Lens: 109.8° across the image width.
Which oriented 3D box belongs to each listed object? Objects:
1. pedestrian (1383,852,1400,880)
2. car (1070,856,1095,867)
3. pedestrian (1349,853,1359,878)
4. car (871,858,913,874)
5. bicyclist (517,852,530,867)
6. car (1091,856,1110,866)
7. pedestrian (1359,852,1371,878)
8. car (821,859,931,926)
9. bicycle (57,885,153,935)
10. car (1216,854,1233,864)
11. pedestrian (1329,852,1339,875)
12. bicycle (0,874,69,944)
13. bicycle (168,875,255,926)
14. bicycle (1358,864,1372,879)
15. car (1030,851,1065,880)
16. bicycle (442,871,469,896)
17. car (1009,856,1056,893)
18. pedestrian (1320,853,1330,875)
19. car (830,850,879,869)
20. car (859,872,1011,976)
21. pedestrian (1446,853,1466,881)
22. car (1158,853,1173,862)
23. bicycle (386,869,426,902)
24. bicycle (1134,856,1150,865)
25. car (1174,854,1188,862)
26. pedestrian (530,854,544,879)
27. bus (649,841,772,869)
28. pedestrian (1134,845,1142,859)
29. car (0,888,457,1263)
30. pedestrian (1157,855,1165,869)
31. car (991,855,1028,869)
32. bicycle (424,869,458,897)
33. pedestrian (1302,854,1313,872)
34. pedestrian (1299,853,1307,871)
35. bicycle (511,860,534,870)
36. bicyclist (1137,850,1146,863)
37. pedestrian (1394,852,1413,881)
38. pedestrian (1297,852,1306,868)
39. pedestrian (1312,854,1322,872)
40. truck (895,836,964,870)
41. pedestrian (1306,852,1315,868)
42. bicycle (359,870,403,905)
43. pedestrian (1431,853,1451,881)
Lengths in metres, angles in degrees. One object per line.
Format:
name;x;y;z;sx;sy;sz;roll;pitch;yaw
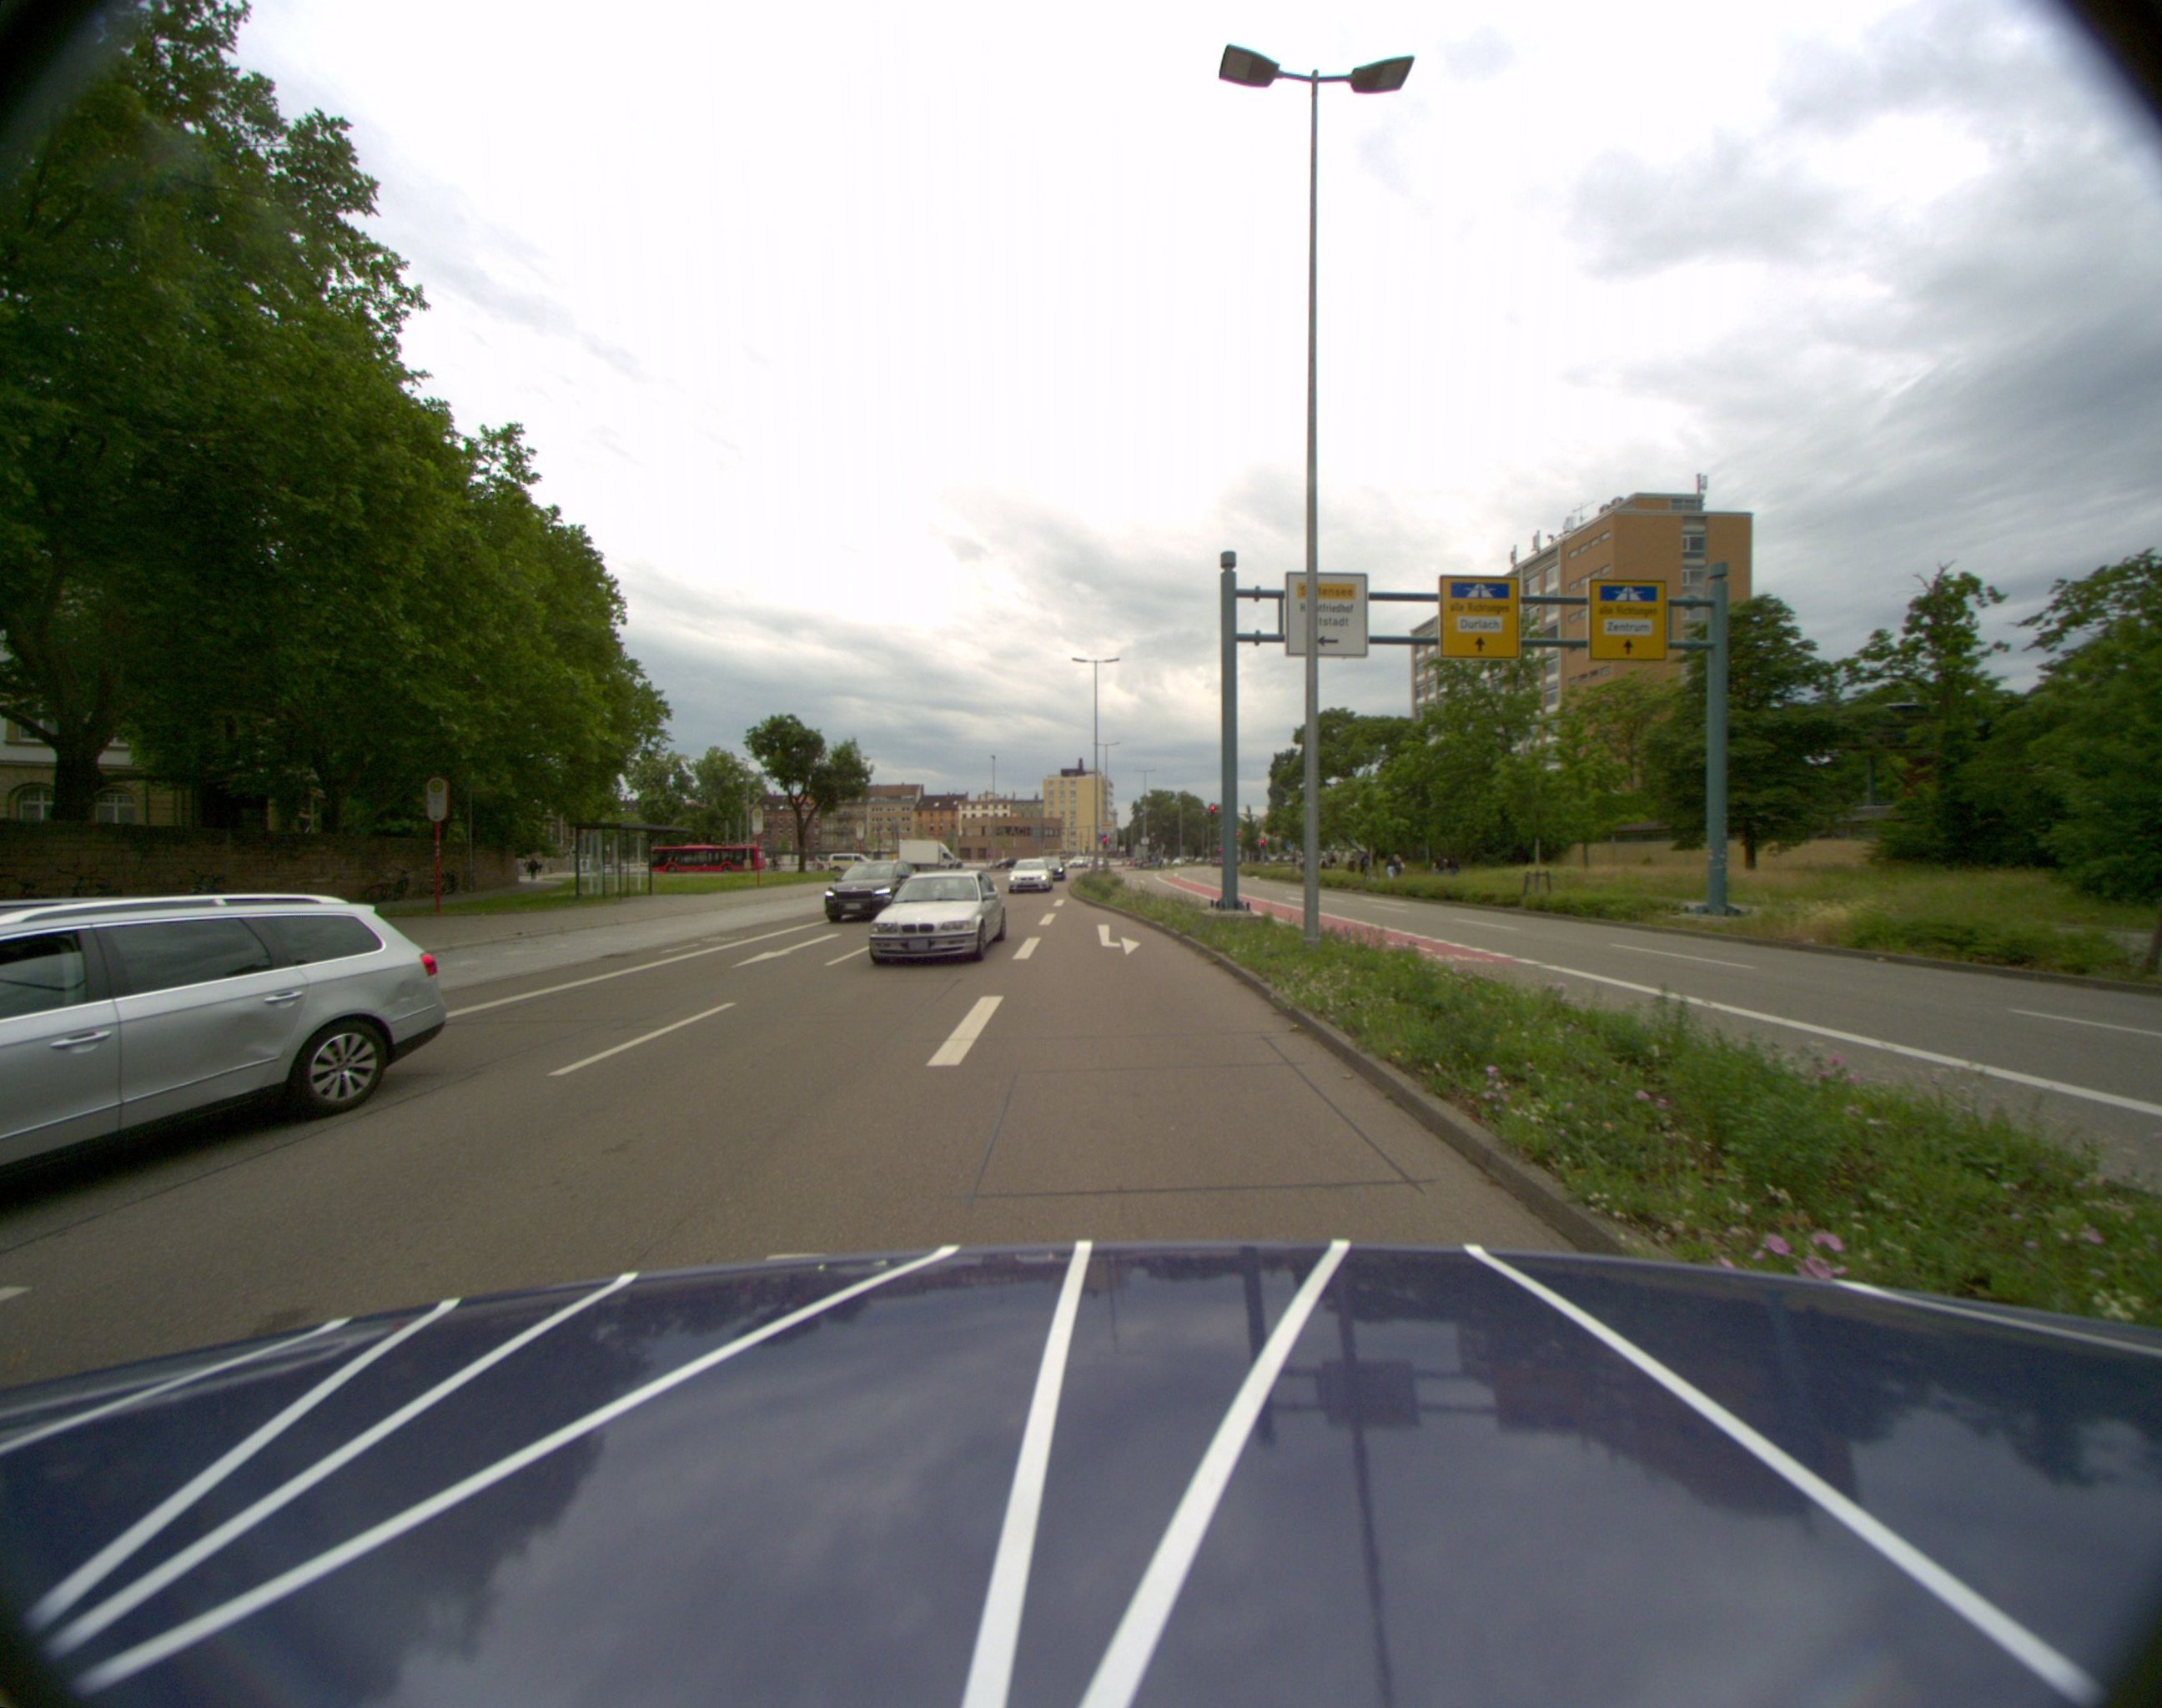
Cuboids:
pedestrian;18.236;0.694;44.623;0.587;1.650;0.720;1;0;-5
car;0.198;1.027;107.041;1.816;1.466;4.040;1;0;28
pedestrian;17.669;0.763;49.216;0.575;1.599;0.617;1;0;17
car;-21.296;1.376;85.908;4.432;1.735;1.763;1;0;-10
bicyclist;-56.094;0.513;76.413;0.740;1.499;0.767;1;0;-10
car;3.023;1.106;118.589;1.515;1.382;3.438;1;0;28
pedestrian;18.326;0.711;49.044;0.661;1.622;0.764;1;0;16
car;-5.761;1.020;21.941;1.912;1.615;4.490;-2;0;0
bicycle;-20.175;1.137;15.747;0.417;0.937;1.523;1;0;-17
car;23.814;0.809;125.959;1.812;1.657;3.955;1;1;23
pedestrian;19.529;0.743;58.628;0.579;1.702;0.762;1;0;11
bicycle;-19.612;0.998;13.872;0.501;1.214;1.624;1;0;-17
bicycle;-20.587;1.072;18.036;0.599;1.098;1.652;1;0;-19
bicycle;18.326;1.127;49.072;0.661;0.882;1.717;1;0;16
car;-2.044;0.658;47.296;1.888;1.591;4.446;-3;0;-1
bicycle;-26.354;1.213;32.037;0.552;0.986;1.633;1;0;-28
car;-2.115;0.868;33.964;1.786;1.454;3.870;-1;0;0
pedestrian;18.775;0.753;58.443;0.622;1.685;0.747;1;0;14
car;-24.095;0.595;80.965;4.712;1.909;1.919;-1;3;-3
car;-2.344;1.076;13.294;1.726;1.406;4.246;-2;0;1
pedestrian;18.535;0.631;37.555;0.646;1.354;0.680;1;0;-1
car;15.985;0.673;143.463;1.606;1.586;3.766;1;0;25
bicycle;-24.258;1.111;27.339;0.596;1.123;1.709;1;0;-25
bicycle;7.899;0.860;98.569;2.005;1.136;0.807;1;0;2
car;20.228;0.823;153.626;1.801;1.586;3.766;1;0;25
pedestrian;-38.771;0.891;54.158;0.759;1.725;0.820;1;0;-39
bus;-41.441;0.152;85.294;12.091;2.891;2.937;-1;0;-3
pedestrian;7.148;-0.262;95.377;0.917;1.794;0.541;1;0;17
car;-5.846;1.118;3.579;1.829;1.542;4.527;-2;1;3
pedestrian;10.131;1.009;95.903;0.777;1.657;0.706;1;0;-7
car;-8.508;0.988;90.558;4.295;1.628;1.685;1;0;-42
bicycle;-25.646;1.158;30.465;0.596;1.053;1.709;1;0;-25
pedestrian;19.223;0.756;64.422;0.730;1.471;0.813;1;0;4
pedestrian;21.941;0.791;75.093;0.638;1.790;0.762;-1;0;4
bicycle;-56.159;1.087;76.408;1.695;0.910;0.767;1;0;-10
bicyclist;7.842;0.343;98.569;1.191;1.725;0.807;1;0;3
pedestrian;18.918;0.718;44.626;0.709;1.663;0.767;1;0;-5
pedestrian;22.917;0.647;79.117;0.708;1.661;0.943;-1;0;4
pedestrian;20.024;0.771;64.366;0.637;1.471;0.762;1;0;4
truck;-16.133;-0.142;81.396;6.852;3.393;2.559;-1;2;-4
pedestrian;23.915;0.607;79.090;0.708;1.661;0.890;-2;0;4
bicycle;-23.671;1.118;25.703;0.596;1.129;1.709;1;0;-25
pedestrian;17.790;0.629;37.532;0.646;1.350;0.711;1;0;-1
